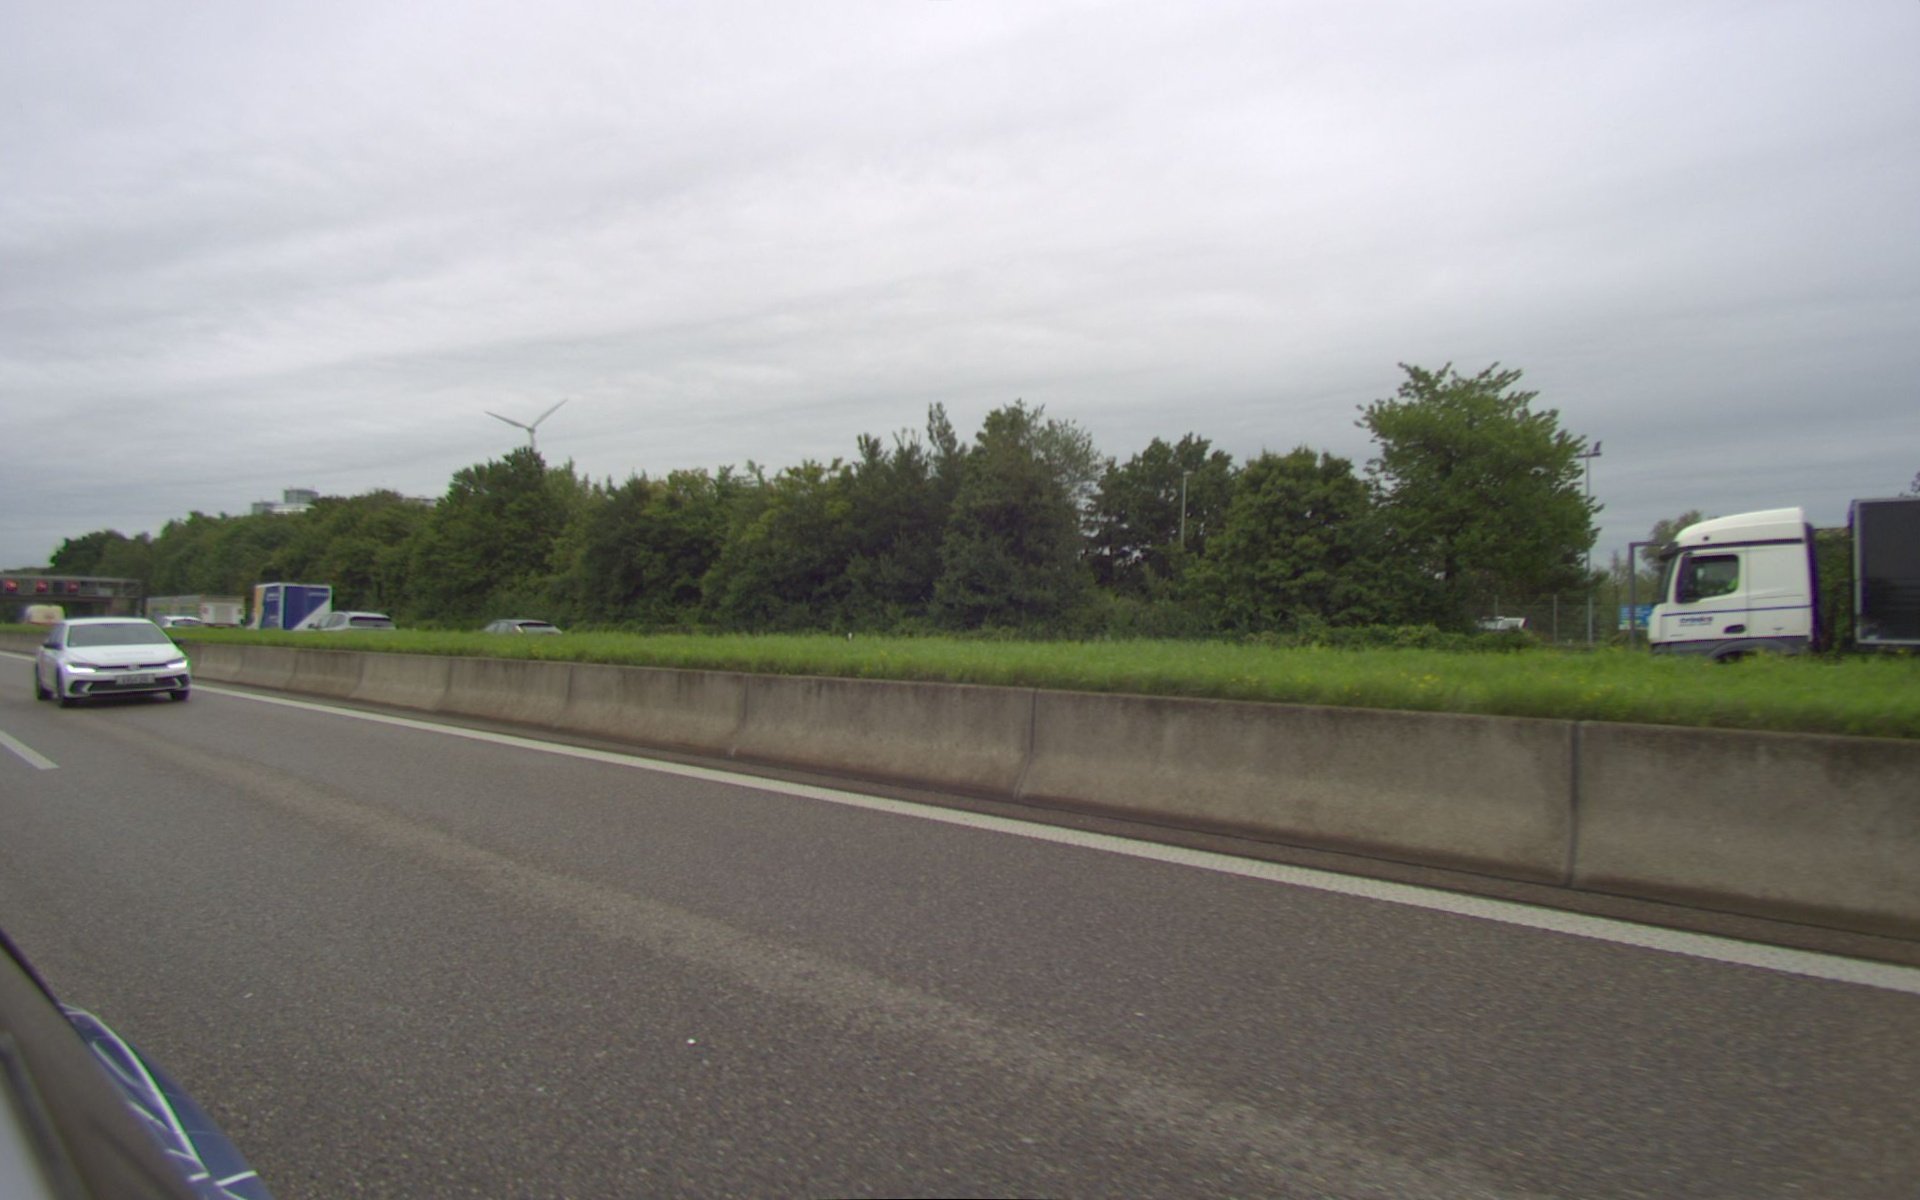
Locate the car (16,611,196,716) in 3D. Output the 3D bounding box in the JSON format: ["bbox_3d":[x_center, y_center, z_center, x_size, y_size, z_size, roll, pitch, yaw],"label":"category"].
[{"bbox_3d":[-15.238,1.038,17.971,4.661,1.630,1.735,-1,-2,41],"label":"car"}]

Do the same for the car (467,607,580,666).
[{"bbox_3d":[-14.078,1.130,32.562,3.881,1.762,1.803,-1,0,41],"label":"car"}]

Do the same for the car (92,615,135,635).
[{"bbox_3d":[-64.915,1.901,77.613,3.999,1.423,1.972,-1,0,42],"label":"car"}]

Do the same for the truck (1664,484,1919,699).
[{"bbox_3d":[15.523,-0.147,16.355,6.580,3.297,2.291,-1,0,42],"label":"truck"}]

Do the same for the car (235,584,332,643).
[{"bbox_3d":[-33.964,0.668,50.671,7.313,2.755,2.297,-1,0,42],"label":"car"}]

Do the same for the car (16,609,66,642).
[{"bbox_3d":[-72.074,1.969,79.325,7.319,2.403,2.037,-1,0,41],"label":"car"}]

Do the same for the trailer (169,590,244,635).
[{"bbox_3d":[-54.805,0.890,73.548,7.868,3.100,2.749,-1,0,41],"label":"trailer"}]

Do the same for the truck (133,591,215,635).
[{"bbox_3d":[-62.089,0.989,79.852,11.350,3.245,2.855,-1,0,40],"label":"truck"}]

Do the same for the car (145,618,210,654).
[{"bbox_3d":[-39.398,1.792,50.921,4.147,1.674,1.803,-1,0,41],"label":"car"}]

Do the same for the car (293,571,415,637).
[{"bbox_3d":[-20.000,0.168,33.334,4.515,2.029,2.099,-1,-1,40],"label":"car"}]
